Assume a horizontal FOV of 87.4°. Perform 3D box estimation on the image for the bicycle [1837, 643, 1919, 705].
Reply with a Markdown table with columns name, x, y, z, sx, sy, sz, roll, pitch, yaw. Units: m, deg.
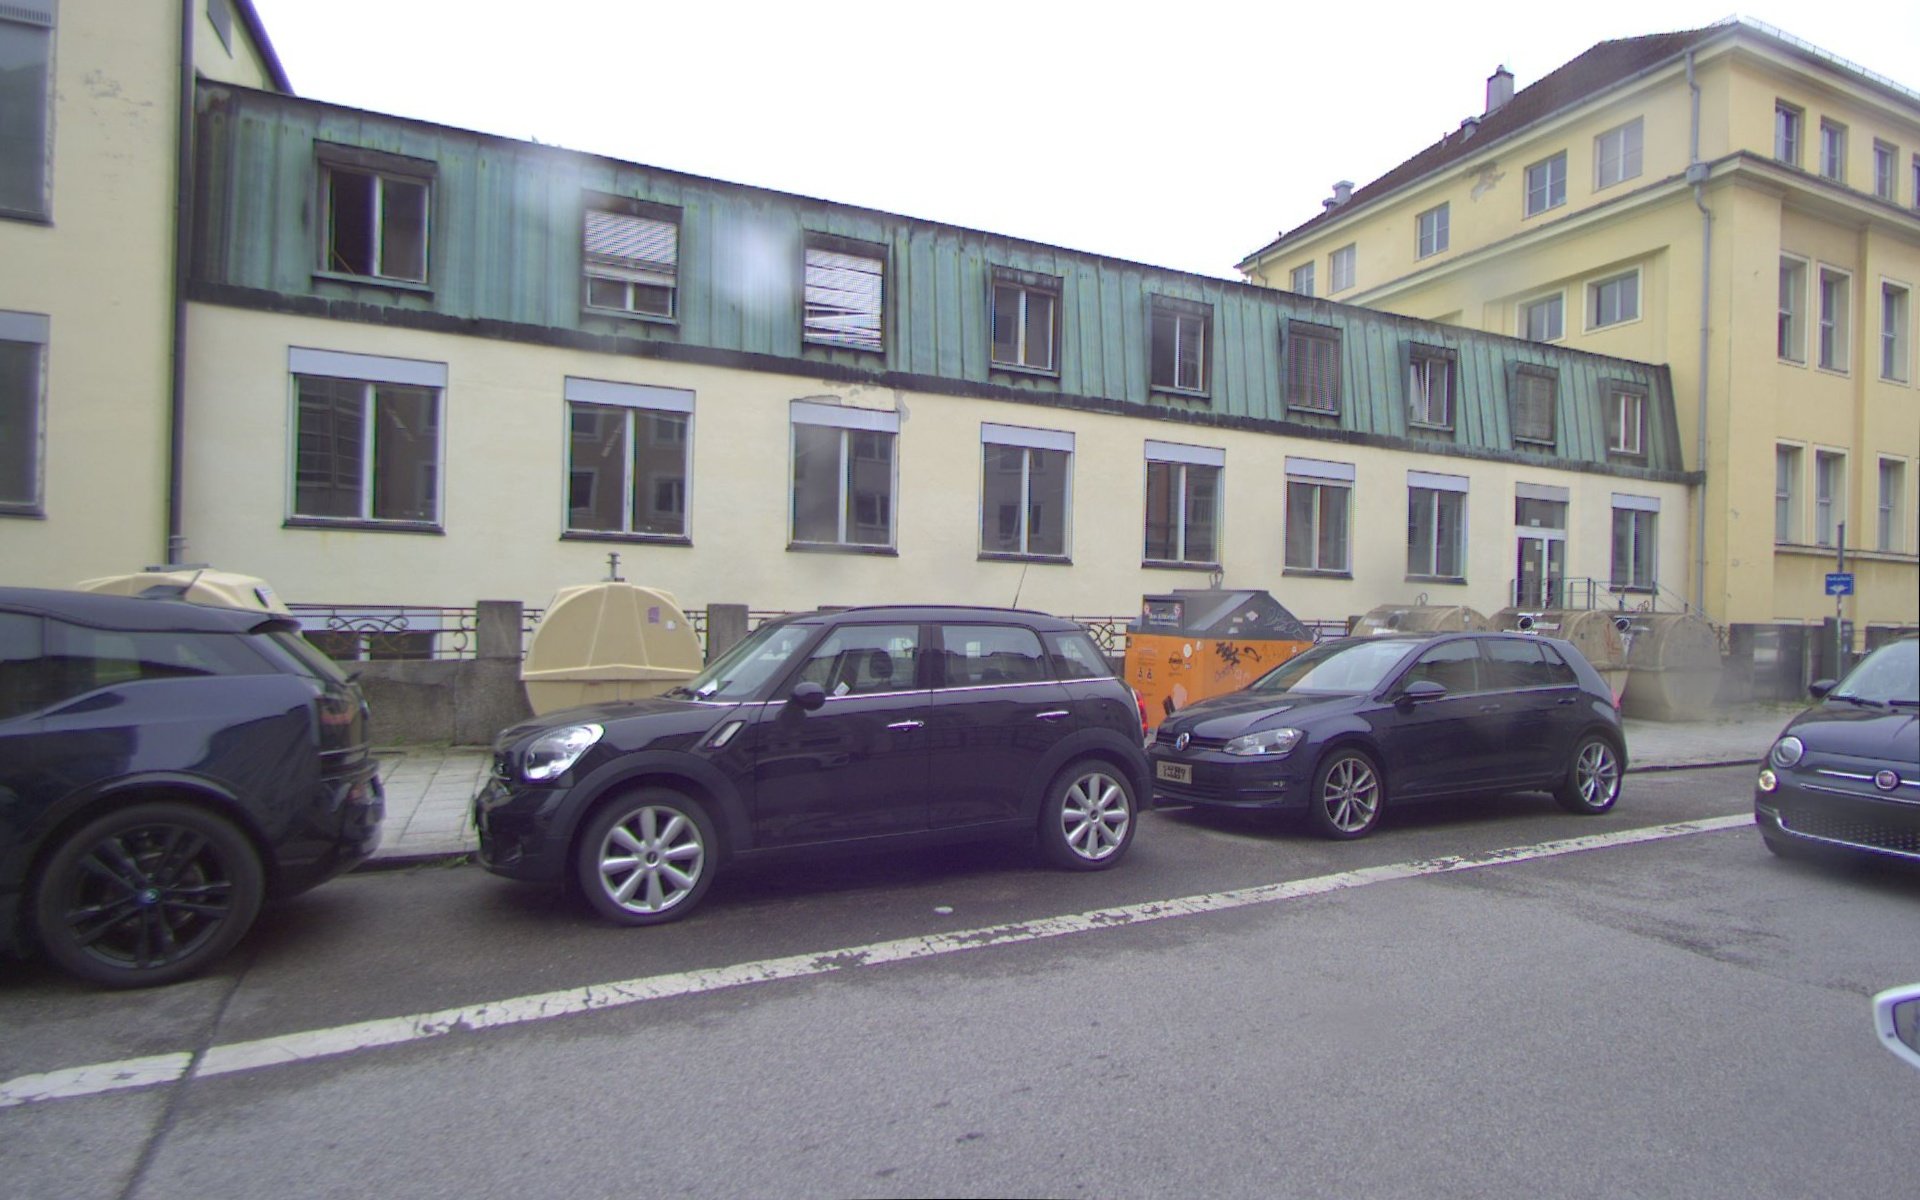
| name | x | y | z | sx | sy | sz | roll | pitch | yaw |
| --- | --- | --- | --- | --- | --- | --- | --- | --- | --- |
| bicycle | 18.603 | 1.476 | 20.301 | 2.077 | 1.201 | 0.534 | 1 | -1 | -25 |

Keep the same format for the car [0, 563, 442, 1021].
| name | x | y | z | sx | sy | sz | roll | pitch | yaw |
| --- | --- | --- | --- | --- | --- | --- | --- | --- | --- |
| car | -4.603 | 0.737 | 4.154 | 4.292 | 1.657 | 1.874 | 1 | -4 | -26 |

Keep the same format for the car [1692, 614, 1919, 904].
| name | x | y | z | sx | sy | sz | roll | pitch | yaw |
| --- | --- | --- | --- | --- | --- | --- | --- | --- | --- |
| car | 6.524 | 0.879 | 6.270 | 3.659 | 1.494 | 1.655 | 2 | -1 | -26 |

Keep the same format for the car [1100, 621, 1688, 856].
| name | x | y | z | sx | sy | sz | roll | pitch | yaw |
| --- | --- | --- | --- | --- | --- | --- | --- | --- | --- |
| car | 3.571 | 0.974 | 8.260 | 4.468 | 1.501 | 1.909 | 1 | -4 | -24 |

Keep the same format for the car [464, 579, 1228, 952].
| name | x | y | z | sx | sy | sz | roll | pitch | yaw |
| --- | --- | --- | --- | --- | --- | --- | --- | --- | --- |
| car | -0.658 | 0.815 | 6.212 | 4.296 | 1.607 | 1.907 | 1 | -4 | -28 |

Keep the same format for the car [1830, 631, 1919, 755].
| name | x | y | z | sx | sy | sz | roll | pitch | yaw |
| --- | --- | --- | --- | --- | --- | --- | --- | --- | --- |
| car | 13.296 | 1.146 | 12.589 | 4.555 | 1.437 | 2.008 | 2 | -4 | -27 |
